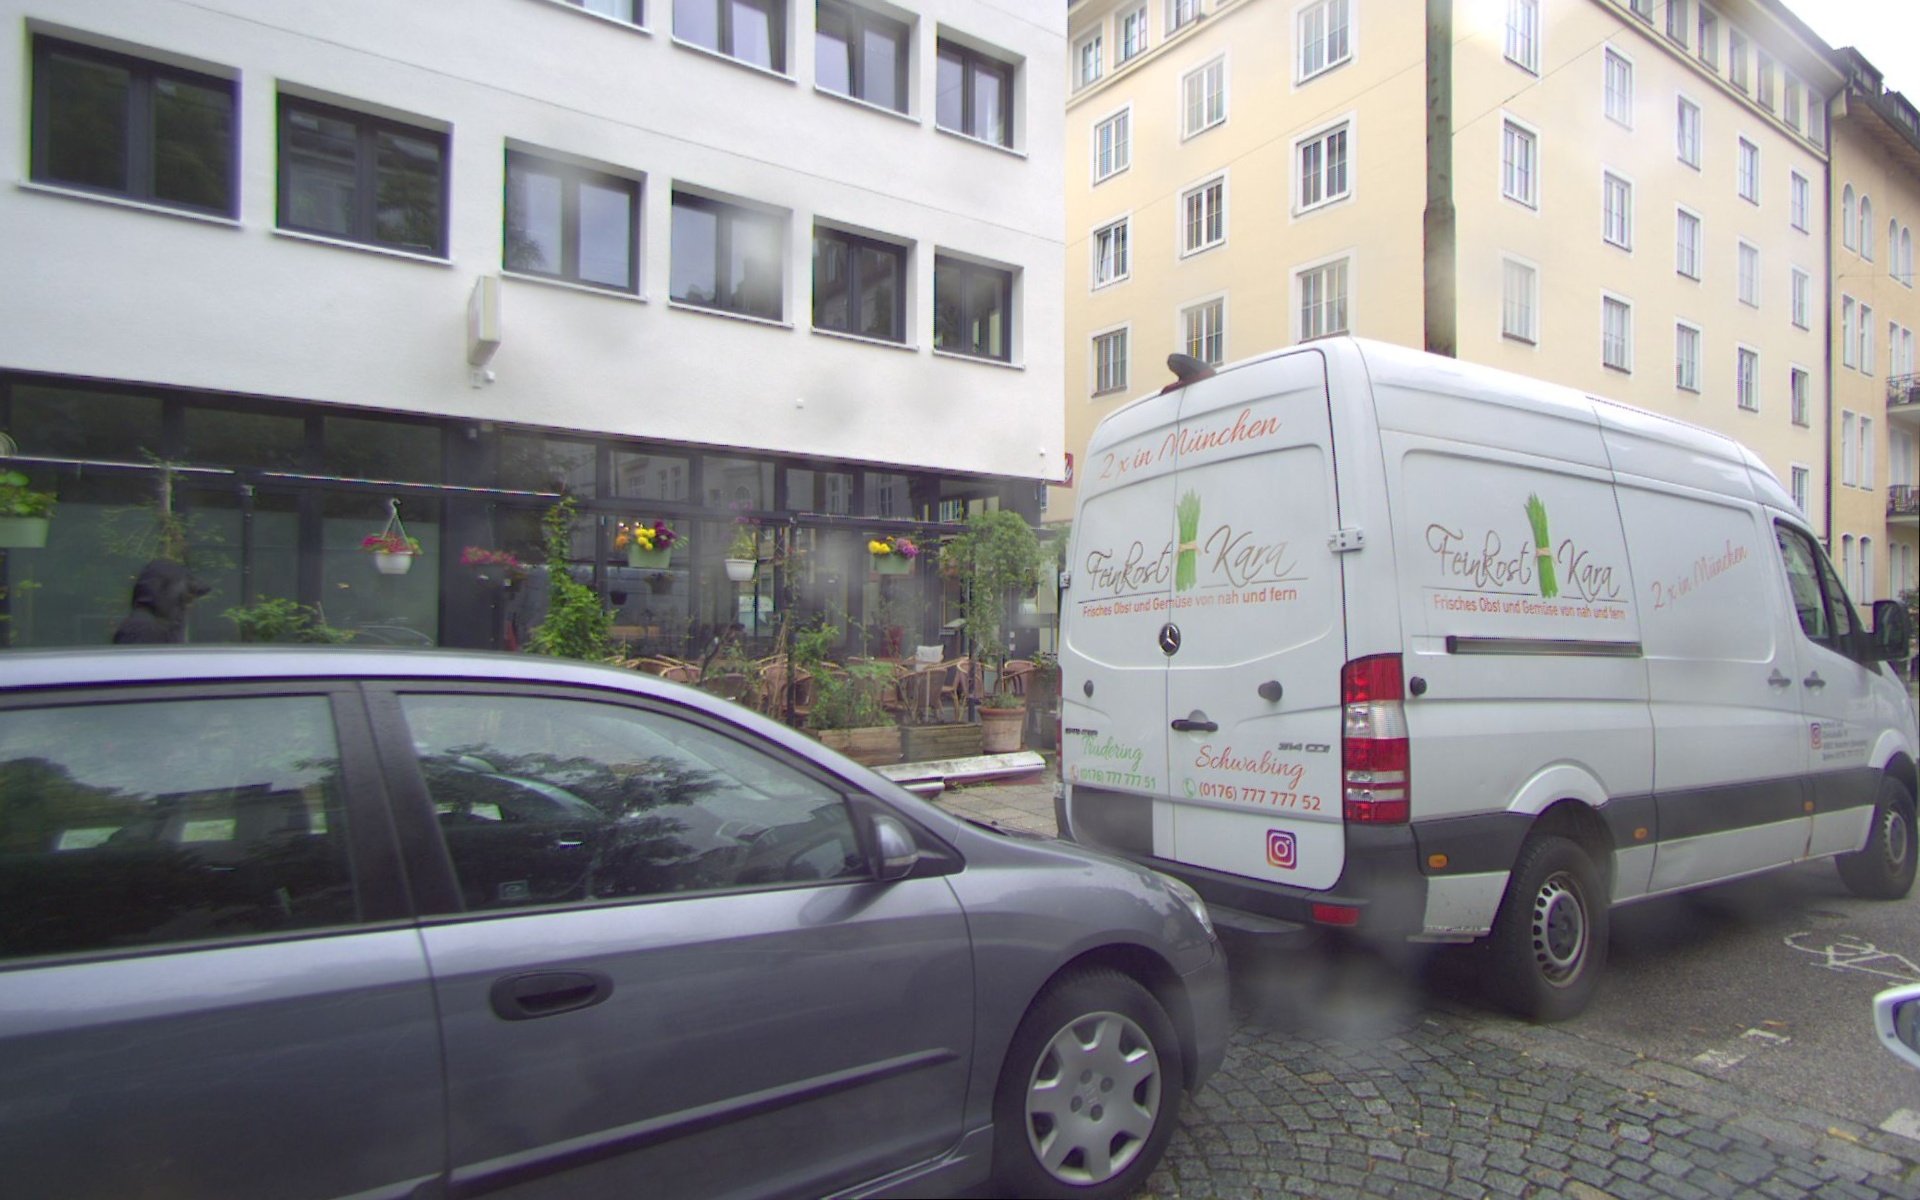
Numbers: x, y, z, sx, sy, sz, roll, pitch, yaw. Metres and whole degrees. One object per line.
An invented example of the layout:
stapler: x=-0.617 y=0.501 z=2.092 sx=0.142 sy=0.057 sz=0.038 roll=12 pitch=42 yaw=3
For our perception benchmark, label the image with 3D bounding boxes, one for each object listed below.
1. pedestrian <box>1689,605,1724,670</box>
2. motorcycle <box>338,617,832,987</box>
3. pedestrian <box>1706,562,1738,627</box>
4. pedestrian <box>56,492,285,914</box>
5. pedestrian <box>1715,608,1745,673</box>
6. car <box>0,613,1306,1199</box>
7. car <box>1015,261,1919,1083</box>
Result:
pedestrian: x=19.215 y=0.959 z=25.854 sx=0.623 sy=1.664 sz=0.519 roll=1 pitch=0 yaw=-33
motorcycle: x=-1.666 y=0.794 z=4.669 sx=2.039 sy=1.387 sz=0.669 roll=2 pitch=-1 yaw=-35
pedestrian: x=19.973 y=-0.139 z=26.329 sx=0.491 sy=1.664 sz=0.475 roll=1 pitch=0 yaw=-28
pedestrian: x=-3.848 y=0.464 z=4.933 sx=0.807 sy=1.864 sz=0.608 roll=1 pitch=-1 yaw=-39
pedestrian: x=20.494 y=1.068 z=26.728 sx=0.568 sy=1.712 sz=0.459 roll=1 pitch=0 yaw=-33
car: x=-1.054 y=0.799 z=2.560 sx=3.941 sy=1.502 sz=1.651 roll=1 pitch=-2 yaw=-34
car: x=3.209 y=0.315 z=5.534 sx=5.728 sy=2.607 sz=1.967 roll=2 pitch=-3 yaw=-31
